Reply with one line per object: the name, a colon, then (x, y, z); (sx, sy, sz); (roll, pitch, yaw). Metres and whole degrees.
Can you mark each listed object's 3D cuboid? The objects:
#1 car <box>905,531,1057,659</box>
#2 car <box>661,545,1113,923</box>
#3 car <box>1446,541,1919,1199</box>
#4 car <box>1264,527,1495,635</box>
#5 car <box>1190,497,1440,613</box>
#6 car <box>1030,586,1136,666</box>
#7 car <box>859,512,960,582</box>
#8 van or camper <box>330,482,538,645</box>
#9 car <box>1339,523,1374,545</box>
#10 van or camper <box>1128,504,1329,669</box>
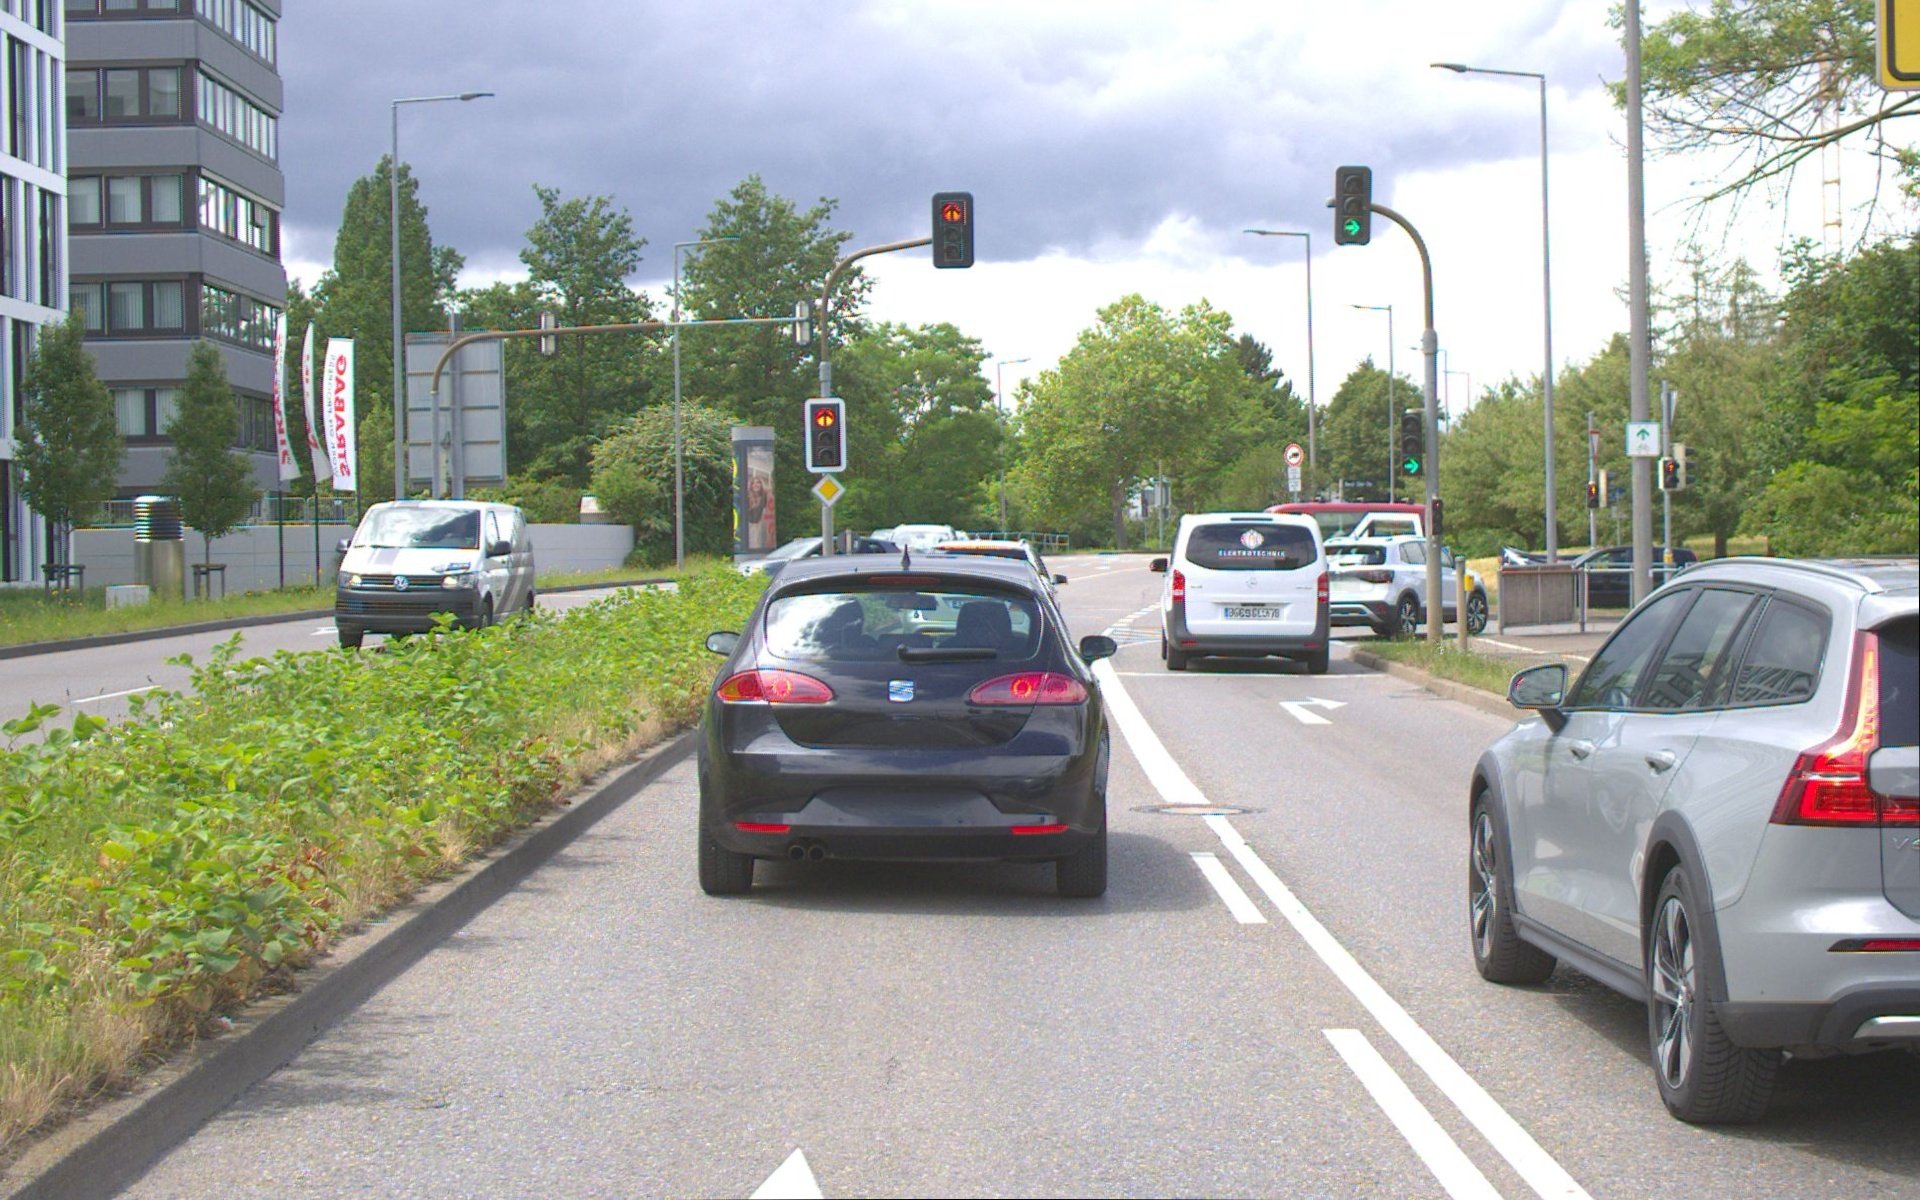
car: (0.219, -0.093, 42.554); (1.773, 1.486, 3.582); (-1, 1, -1)
car: (-0.256, 0.502, 15.434); (1.773, 1.447, 3.582); (1, 1, 1)
car: (2.698, 0.607, 9.946); (1.863, 1.513, 4.447); (-1, 1, -1)
car: (6.534, -0.322, 53.229); (1.997, 1.590, 3.993); (0, 1, 33)
car: (7.585, -0.960, 73.615); (5.224, 2.404, 2.000); (0, 1, 5)
car: (2.681, 0.537, 74.222); (1.994, 1.590, 3.999); (0, 1, 6)
car: (-1.157, -1.247, 80.357); (1.994, 1.590, 4.000); (0, 1, 4)
van or camper: (-6.834, -0.492, 45.167); (1.993, 2.007, 4.816); (0, 1, 0)
car: (24.854, -4.114, 215.391); (1.994, 1.347, 3.999); (1, 1, 9)
van or camper: (3.158, -0.202, 41.415); (1.993, 1.853, 4.944); (0, 1, 0)
